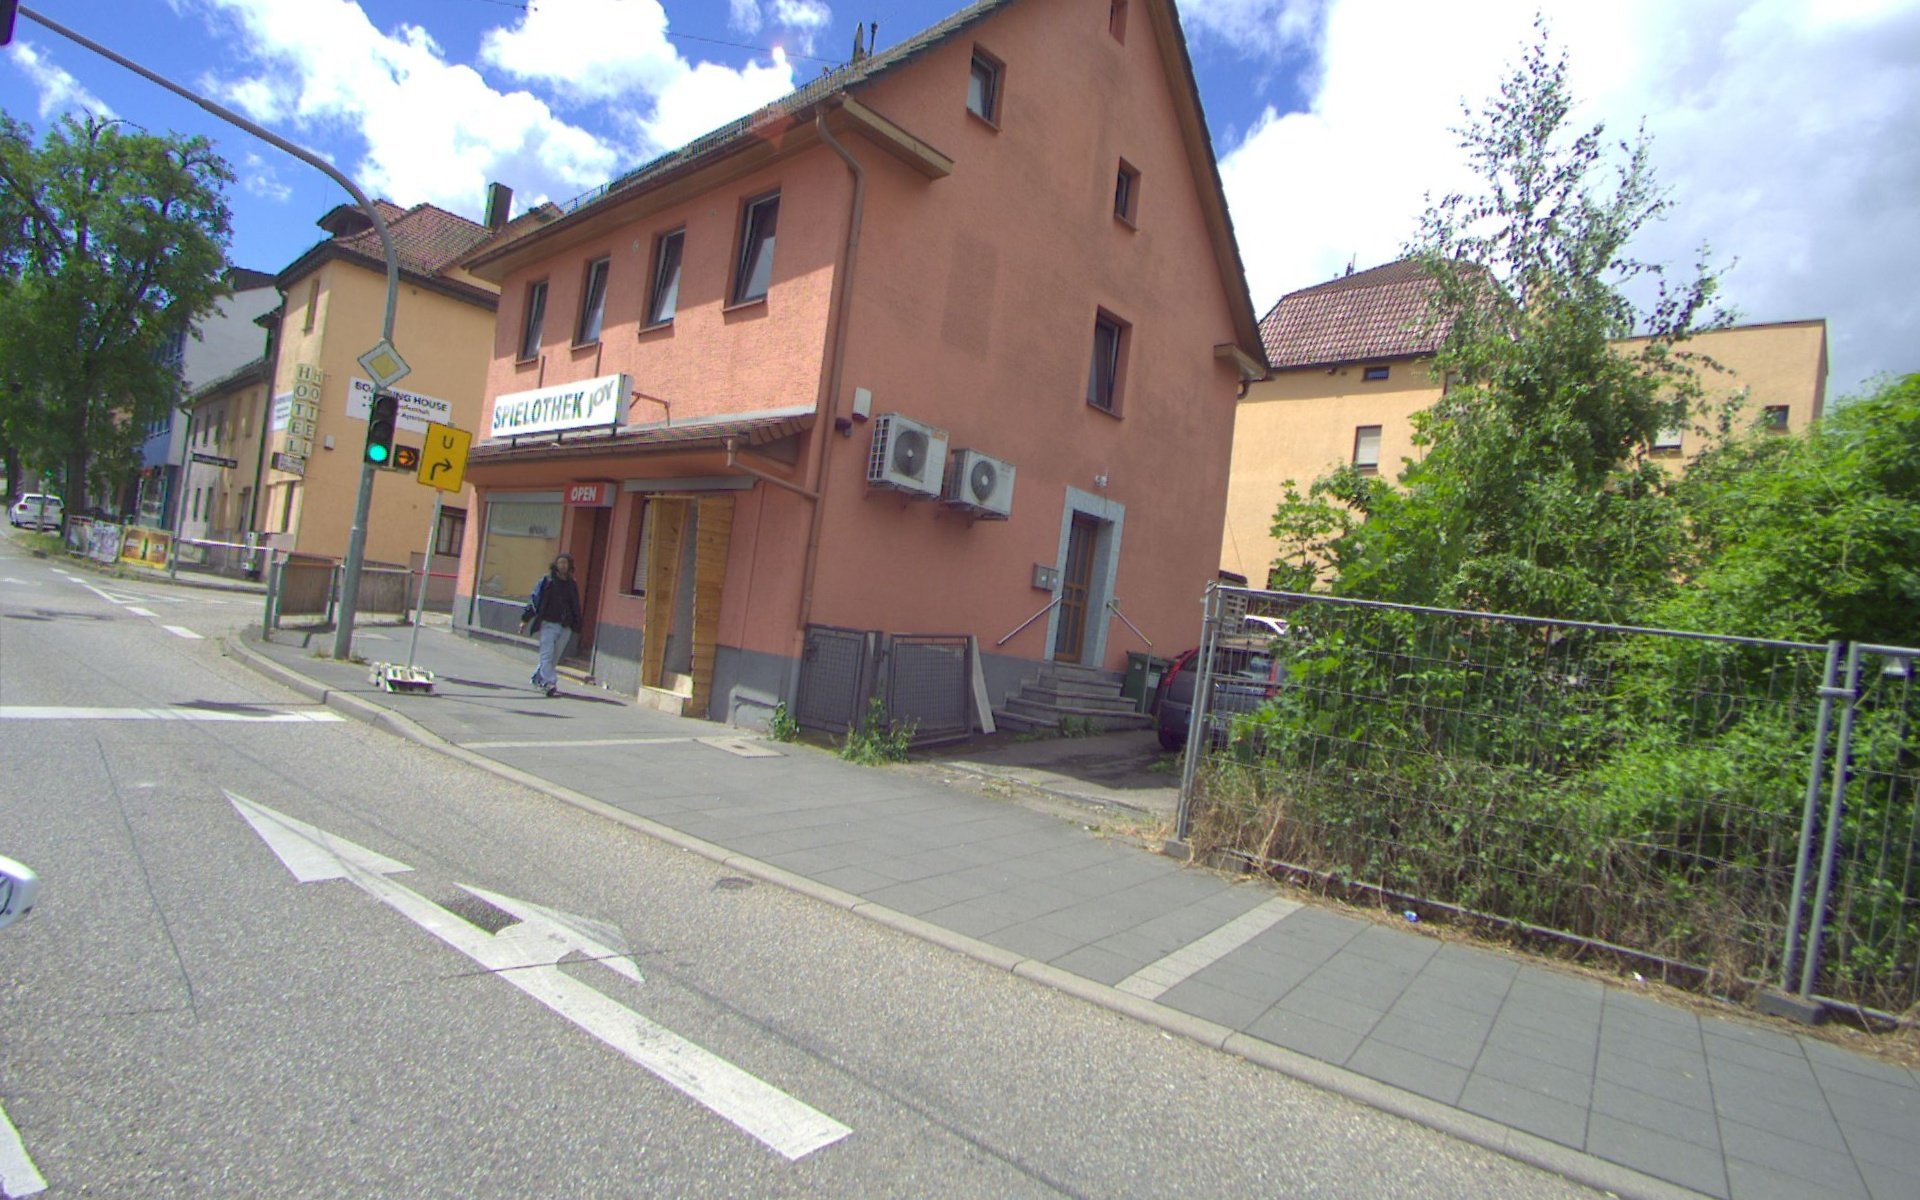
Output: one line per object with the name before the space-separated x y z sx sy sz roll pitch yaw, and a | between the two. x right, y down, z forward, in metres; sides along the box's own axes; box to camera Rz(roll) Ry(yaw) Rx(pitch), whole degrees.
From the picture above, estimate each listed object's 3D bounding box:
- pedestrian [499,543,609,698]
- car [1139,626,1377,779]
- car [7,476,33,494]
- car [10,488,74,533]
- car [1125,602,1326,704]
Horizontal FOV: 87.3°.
pedestrian | -4.698 0.239 11.643 0.767 1.663 0.762 9 1 43
car | 3.752 1.199 12.497 1.627 1.516 2.796 7 2 43
car | -101.667 -12.405 108.883 1.812 1.484 3.952 12 -4 -42
car | -39.510 -3.839 43.282 1.782 1.615 3.950 7 -1 -45
car | 6.180 1.217 23.661 3.947 1.804 1.990 7 -1 44
